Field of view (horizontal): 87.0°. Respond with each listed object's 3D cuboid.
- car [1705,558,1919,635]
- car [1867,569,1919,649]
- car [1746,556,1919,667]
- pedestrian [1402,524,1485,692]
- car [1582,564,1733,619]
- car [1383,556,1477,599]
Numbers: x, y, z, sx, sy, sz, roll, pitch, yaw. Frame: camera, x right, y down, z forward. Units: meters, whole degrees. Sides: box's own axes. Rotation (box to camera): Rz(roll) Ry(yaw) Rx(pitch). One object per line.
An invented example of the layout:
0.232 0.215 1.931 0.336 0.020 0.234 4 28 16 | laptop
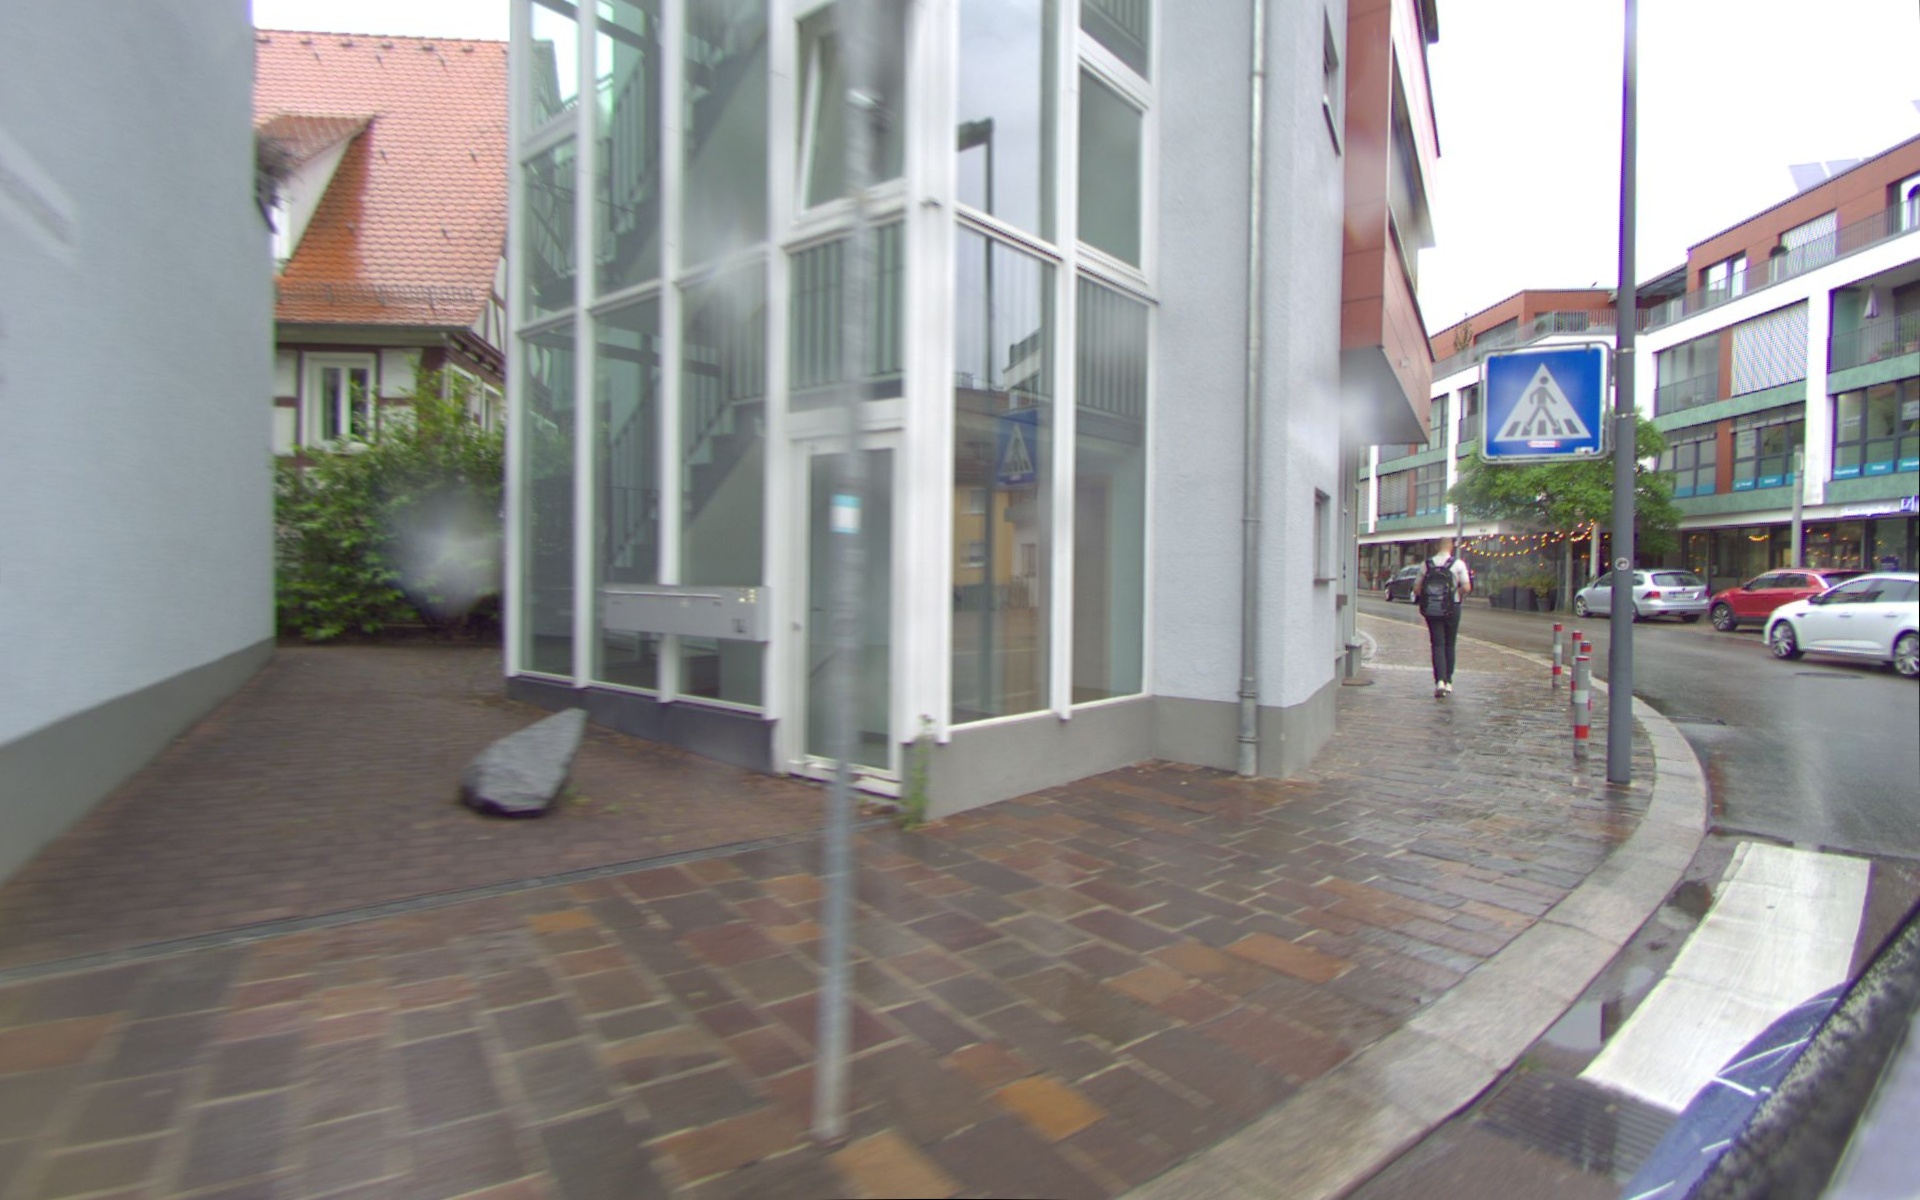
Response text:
19.273 -0.143 23.144 1.771 1.574 3.918 -1 2 4 | car
18.421 0.189 18.022 1.652 1.453 3.579 -1 2 8 | car
14.194 0.128 14.894 1.892 1.509 4.855 1 2 7 | car
5.608 0.063 11.711 0.815 1.828 1.136 0 2 28 | pedestrian
19.501 -0.278 28.517 1.695 1.411 3.860 -1 2 3 | car
17.365 -0.873 37.630 1.754 1.483 4.509 0 2 6 | car
